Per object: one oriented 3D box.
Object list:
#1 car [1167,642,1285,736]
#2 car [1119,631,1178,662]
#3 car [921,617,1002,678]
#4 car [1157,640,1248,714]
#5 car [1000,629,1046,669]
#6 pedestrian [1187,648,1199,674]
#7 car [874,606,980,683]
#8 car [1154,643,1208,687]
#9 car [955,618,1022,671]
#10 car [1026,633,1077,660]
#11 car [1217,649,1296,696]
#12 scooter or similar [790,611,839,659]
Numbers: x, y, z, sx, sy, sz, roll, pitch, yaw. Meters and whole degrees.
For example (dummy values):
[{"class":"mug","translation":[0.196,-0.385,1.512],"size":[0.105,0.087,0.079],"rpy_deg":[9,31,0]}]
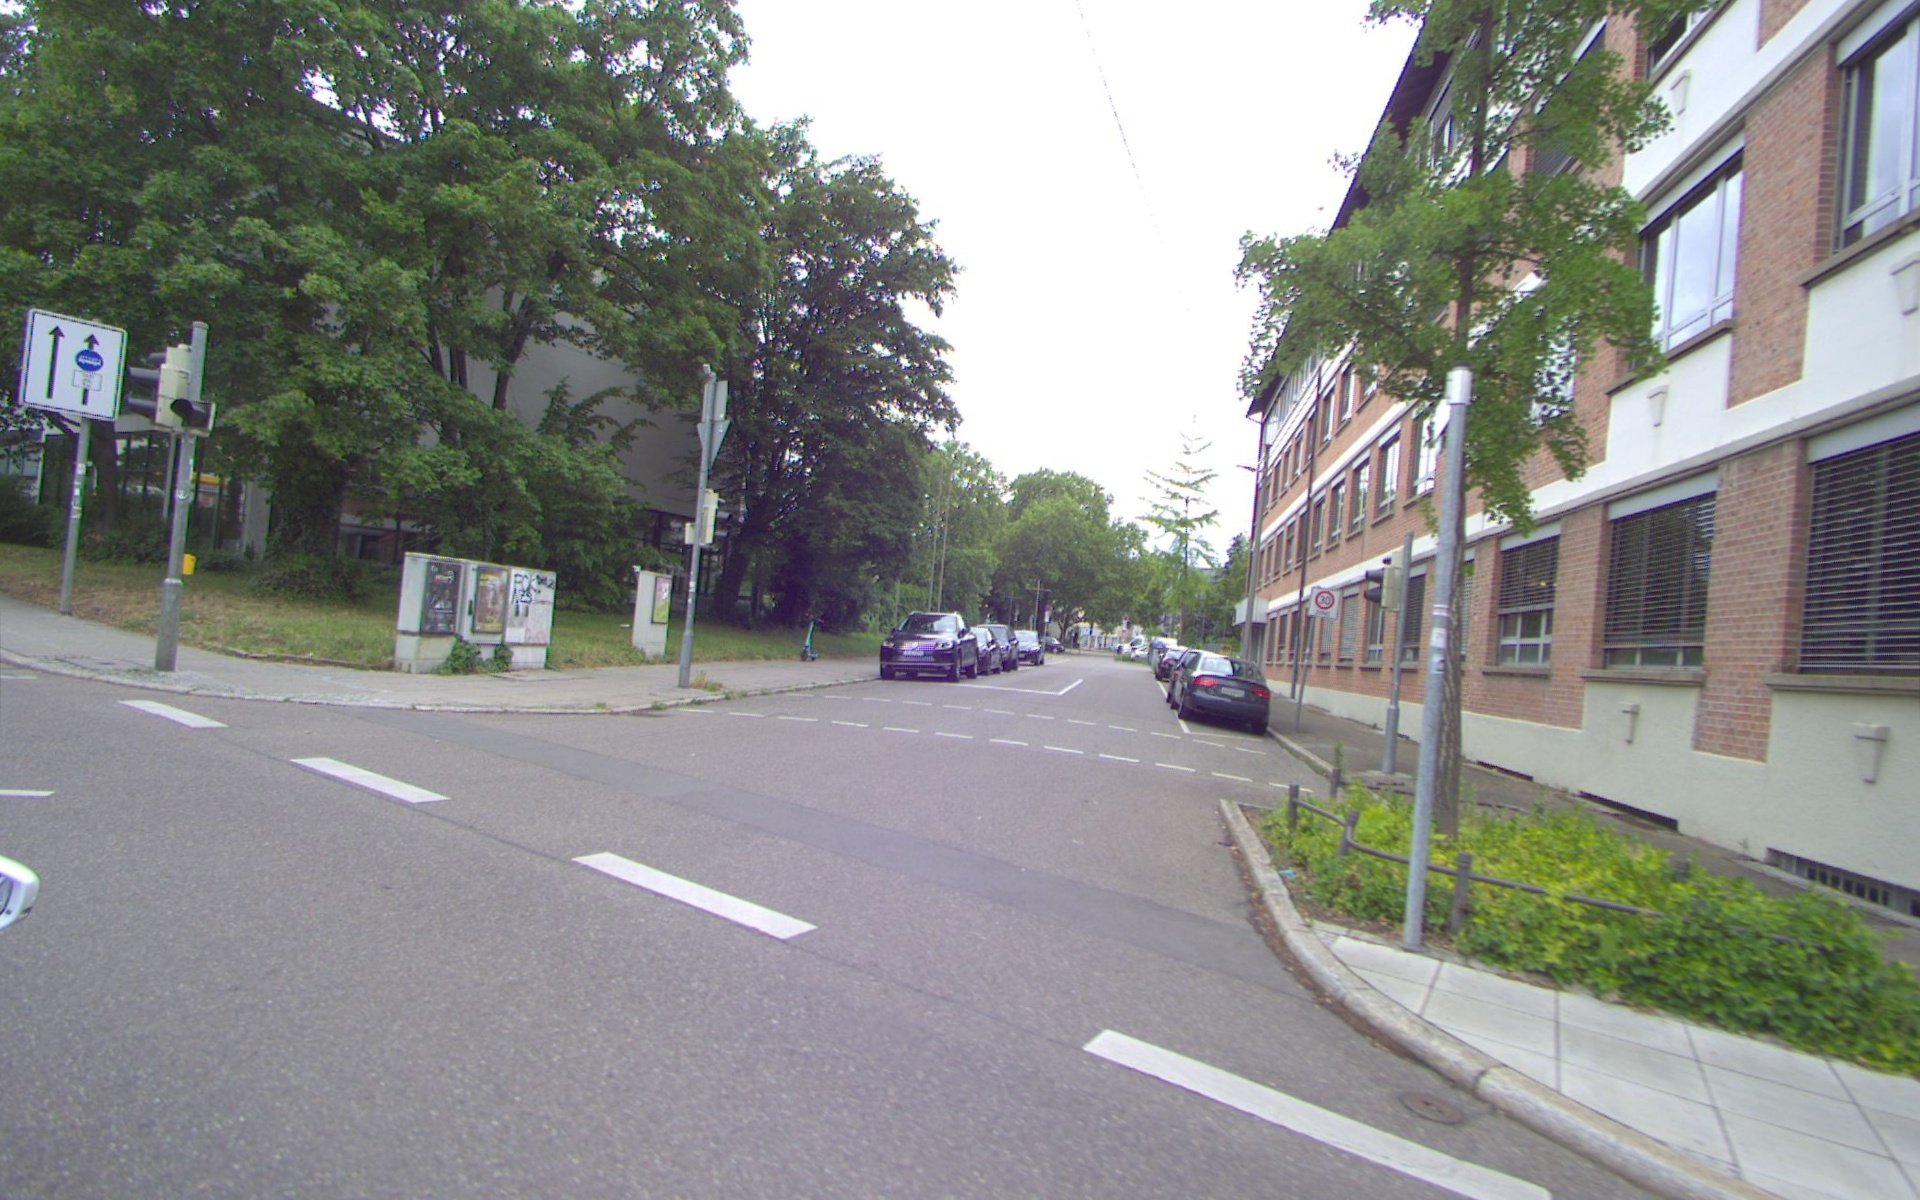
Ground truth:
[{"class":"car","translation":[5.521,1.824,21.345],"size":[1.716,1.534,4.005],"rpy_deg":[8,-2,8]},{"class":"car","translation":[17.169,4.251,91.783],"size":[4.954,2.036,2.003],"rpy_deg":[9,-1,11]},{"class":"car","translation":[0.120,1.485,31.140],"size":[1.910,1.622,4.005],"rpy_deg":[4,-2,8]},{"class":"car","translation":[6.250,1.976,26.314],"size":[1.716,1.534,4.005],"rpy_deg":[8,-2,8]},{"class":"car","translation":[2.981,2.310,46.989],"size":[1.742,1.622,4.005],"rpy_deg":[4,-2,8]},{"class":"pedestrian","translation":[17.025,4.492,73.583],"size":[0.498,1.832,0.456],"rpy_deg":[8,-1,27]},{"class":"car","translation":[-0.730,1.135,25.301],"size":[1.910,1.622,4.092],"rpy_deg":[4,-2,8]},{"class":"car","translation":[9.385,2.772,43.041],"size":[1.716,1.534,4.005],"rpy_deg":[8,-2,8]},{"class":"car","translation":[1.092,1.621,36.112],"size":[1.910,1.622,4.005],"rpy_deg":[4,-2,8]},{"class":"car","translation":[8.118,4.131,89.352],"size":[4.193,1.763,1.844],"rpy_deg":[9,-1,11]},{"class":"car","translation":[16.915,4.134,57.357],"size":[3.928,2.037,1.717],"rpy_deg":[8,-1,24]},{"class":"scooter or similar","translation":[-3.974,0.988,27.658],"size":[0.521,1.191,1.770],"rpy_deg":[8,-2,15]}]
